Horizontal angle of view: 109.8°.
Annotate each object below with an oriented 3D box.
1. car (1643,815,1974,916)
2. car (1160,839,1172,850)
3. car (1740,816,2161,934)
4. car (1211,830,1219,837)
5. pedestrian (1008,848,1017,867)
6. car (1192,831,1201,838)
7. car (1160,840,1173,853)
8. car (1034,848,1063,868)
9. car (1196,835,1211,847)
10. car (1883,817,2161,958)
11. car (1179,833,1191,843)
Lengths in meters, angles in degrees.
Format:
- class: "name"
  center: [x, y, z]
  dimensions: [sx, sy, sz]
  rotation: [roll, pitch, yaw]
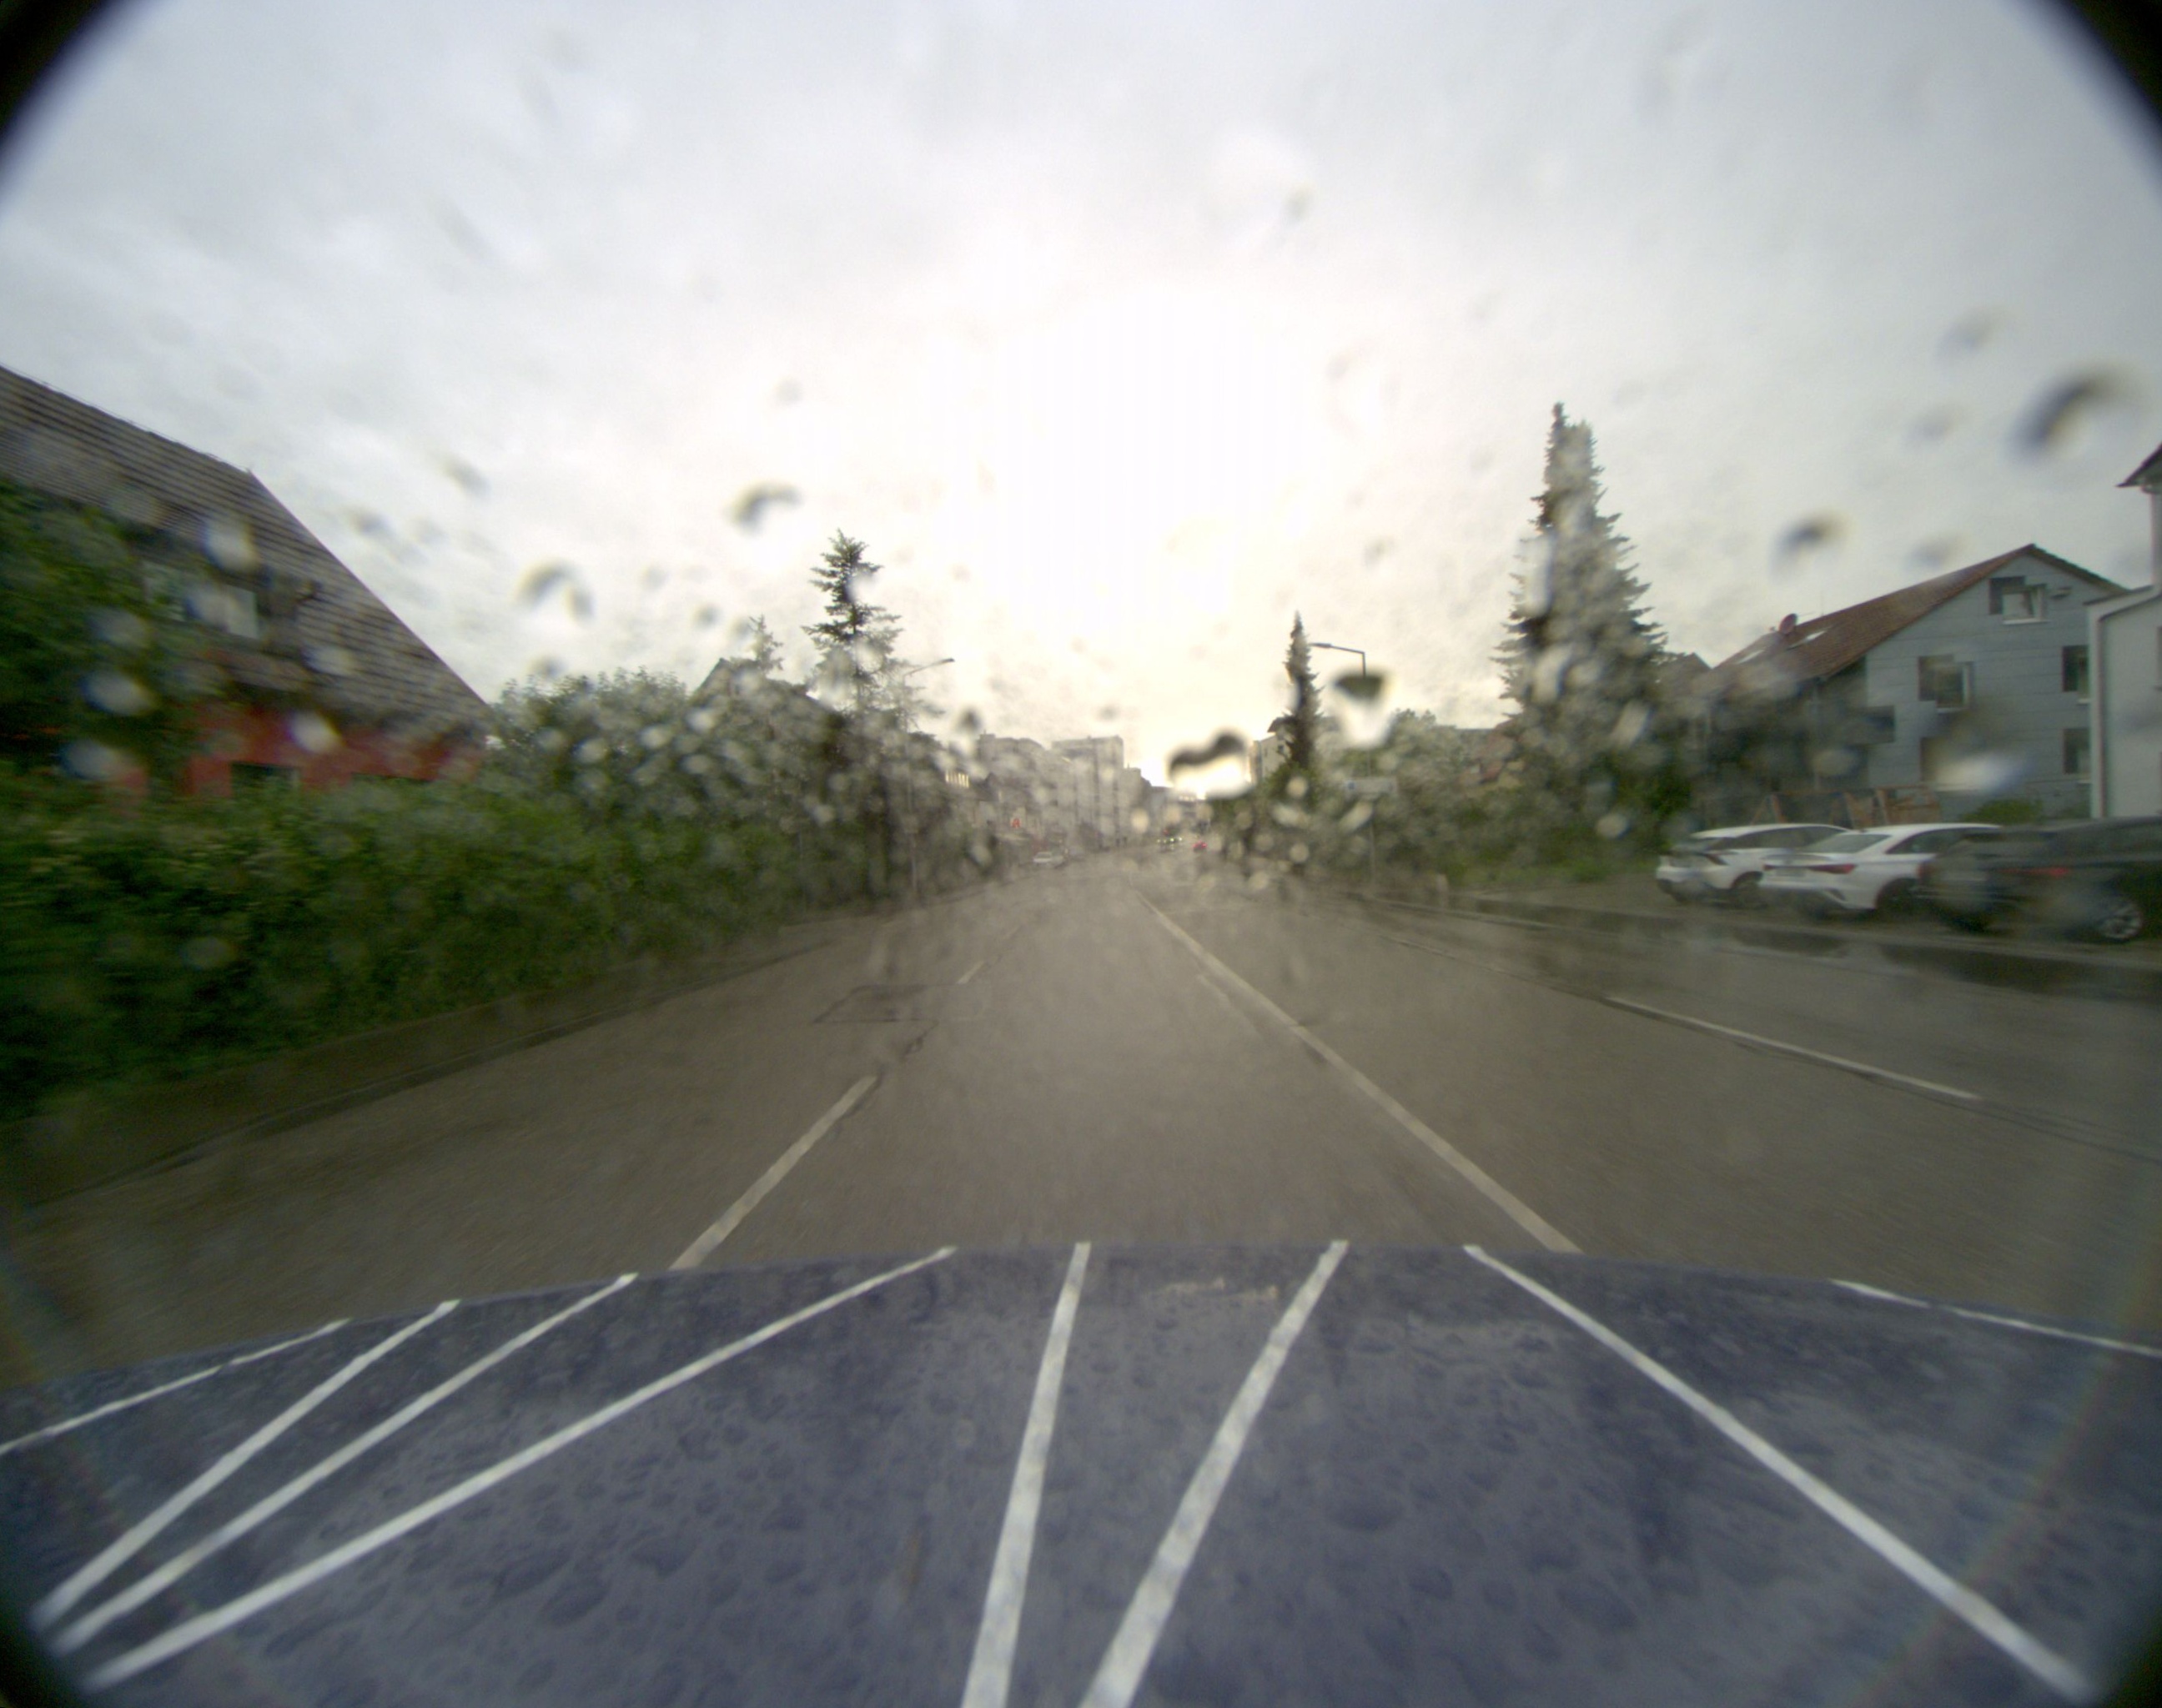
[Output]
- class: "car"
  center: [13.497, 0.210, 14.370]
  dimensions: [4.114, 1.536, 2.001]
  rotation: [-4, 0, 6]
- class: "car"
  center: [13.686, -1.527, 122.654]
  dimensions: [1.851, 1.753, 4.123]
  rotation: [-2, 0, 6]
- class: "car"
  center: [13.124, 0.305, 11.656]
  dimensions: [4.155, 1.434, 1.891]
  rotation: [-4, 0, 8]
- class: "car"
  center: [34.722, -5.246, 196.685]
  dimensions: [1.850, 1.753, 4.125]
  rotation: [-2, 1, 14]
- class: "pedestrian"
  center: [-5.736, 0.287, 63.711]
  dimensions: [0.696, 1.622, 0.621]
  rotation: [-2, 1, 0]
- class: "car"
  center: [28.800, -4.790, 189.508]
  dimensions: [1.850, 1.753, 4.125]
  rotation: [-2, 1, 14]
- class: "car"
  center: [12.988, -1.106, 115.699]
  dimensions: [1.851, 1.870, 4.122]
  rotation: [-2, 1, 5]
- class: "car"
  center: [-2.777, 0.339, 65.365]
  dimensions: [1.912, 1.622, 3.703]
  rotation: [-2, 0, 5]
- class: "car"
  center: [18.050, -1.887, 112.209]
  dimensions: [1.997, 1.606, 4.003]
  rotation: [-2, 0, 11]
- class: "car"
  center: [12.829, 0.316, 9.203]
  dimensions: [4.034, 1.434, 1.813]
  rotation: [-4, 0, 6]
- class: "car"
  center: [19.989, -3.005, 145.974]
  dimensions: [1.850, 1.753, 4.124]
  rotation: [-2, 1, 11]
